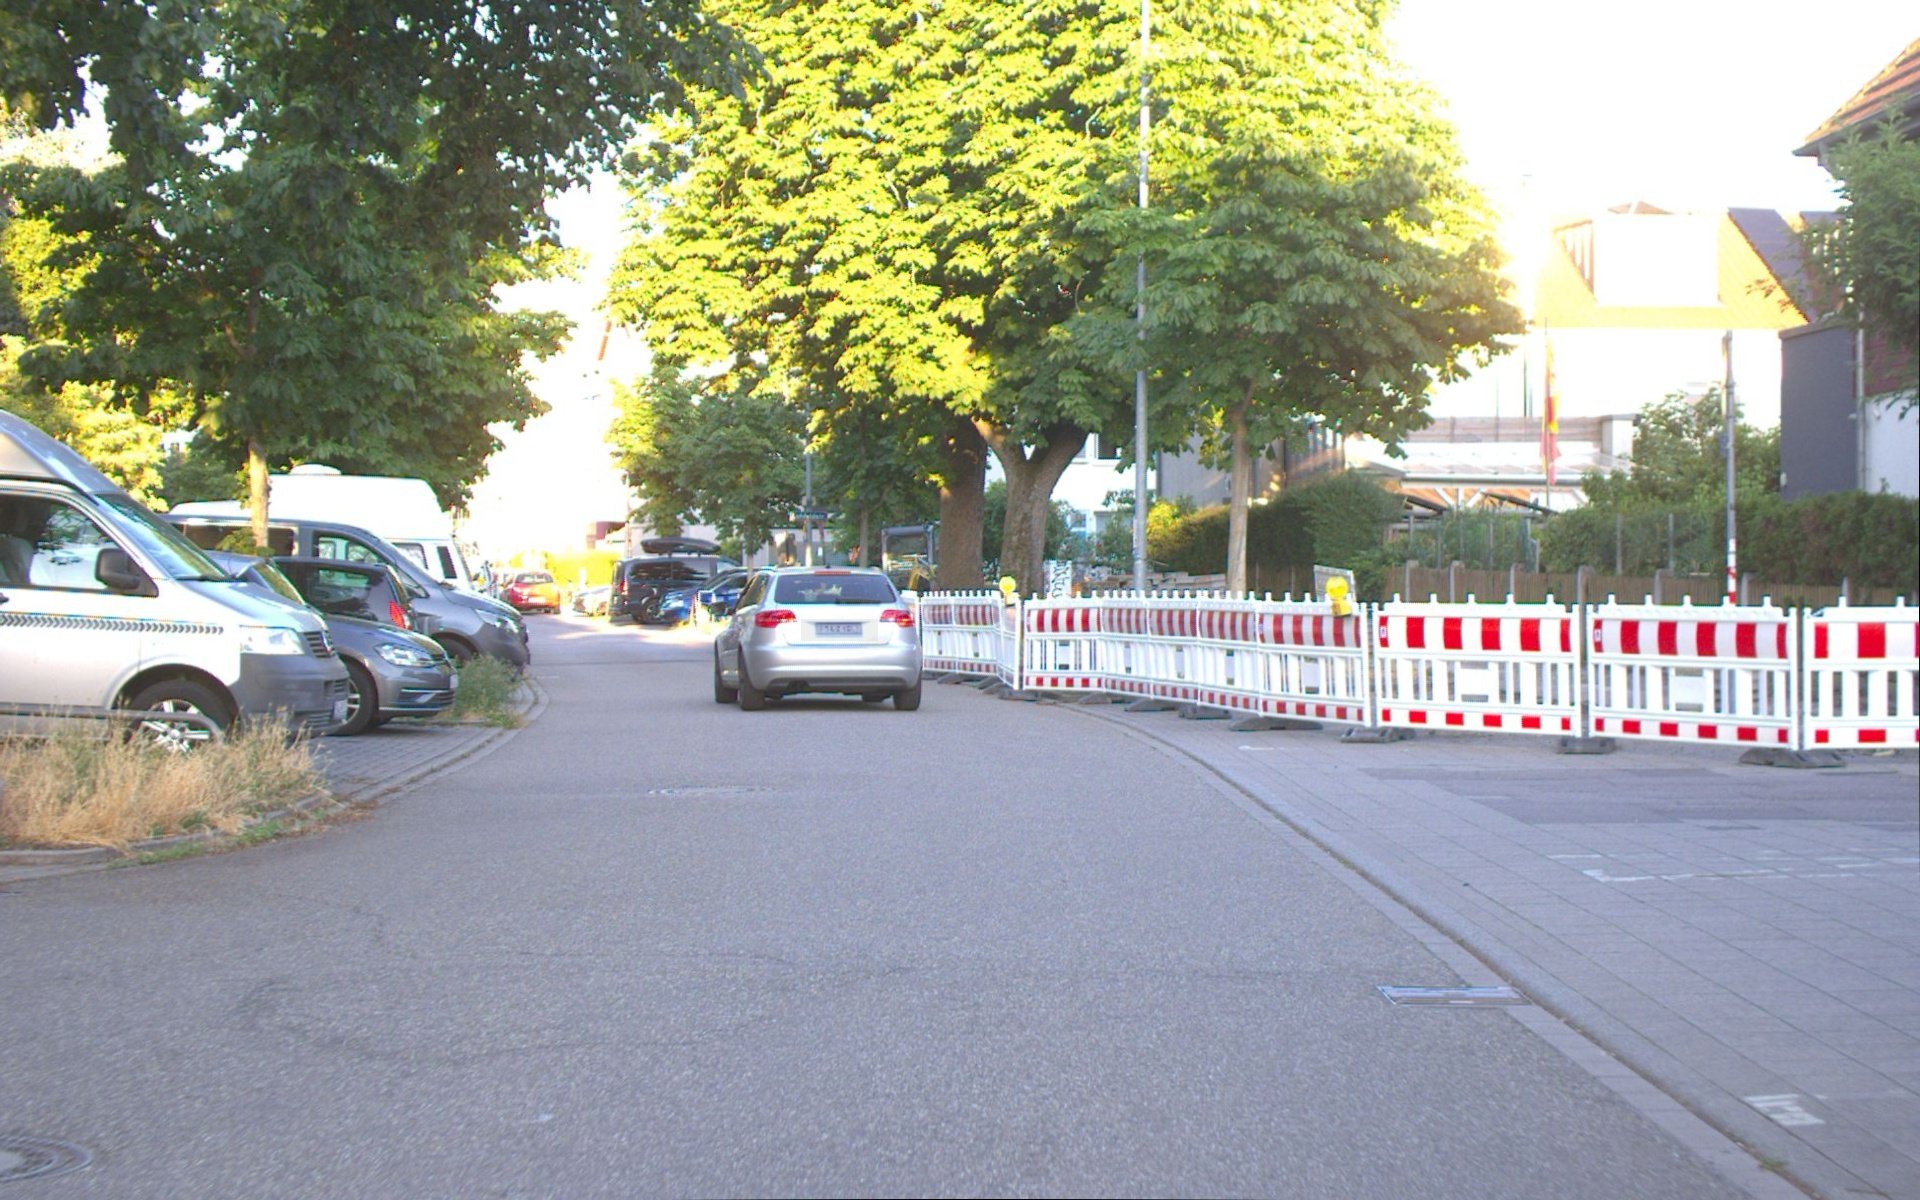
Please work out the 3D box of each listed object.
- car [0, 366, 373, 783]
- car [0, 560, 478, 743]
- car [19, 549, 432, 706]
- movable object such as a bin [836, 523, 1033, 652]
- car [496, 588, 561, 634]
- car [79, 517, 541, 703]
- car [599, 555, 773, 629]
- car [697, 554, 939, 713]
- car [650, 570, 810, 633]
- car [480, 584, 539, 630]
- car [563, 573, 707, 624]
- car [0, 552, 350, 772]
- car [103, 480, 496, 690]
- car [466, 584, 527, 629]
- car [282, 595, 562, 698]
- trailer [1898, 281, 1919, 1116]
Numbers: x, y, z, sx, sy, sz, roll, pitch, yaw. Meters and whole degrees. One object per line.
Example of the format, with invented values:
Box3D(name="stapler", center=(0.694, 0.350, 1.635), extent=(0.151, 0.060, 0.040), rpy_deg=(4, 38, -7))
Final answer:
Box3D(name="car", center=(-6.368, -0.180, 22.333), extent=(4.731, 2.561, 2.000), rpy_deg=(1, 0, 0))
Box3D(name="car", center=(-6.218, 0.405, 28.378), extent=(4.244, 1.389, 1.684), rpy_deg=(1, 0, -1))
Box3D(name="car", center=(-7.144, 0.269, 33.710), extent=(3.768, 1.434, 1.656), rpy_deg=(1, -1, -6))
Box3D(name="movable object such as a bin", center=(-0.560, -0.247, 66.677), extent=(2.627, 2.394, 5.199), rpy_deg=(1, 0, -14))
Box3D(name="car", center=(-14.420, 0.353, 114.757), extent=(1.729, 1.478, 3.558), rpy_deg=(1, 0, -14))
Box3D(name="car", center=(-6.795, 0.100, 36.400), extent=(4.672, 1.867, 2.000), rpy_deg=(1, 0, -7))
Box3D(name="car", center=(-7.801, -0.228, 97.656), extent=(4.555, 2.016, 2.102), rpy_deg=(1, 0, -17))
Box3D(name="car", center=(-1.478, 0.331, 34.295), extent=(1.807, 1.483, 4.001), rpy_deg=(0, 0, -11))
Box3D(name="car", center=(-6.221, 0.033, 93.037), extent=(3.986, 1.645, 1.765), rpy_deg=(1, 0, -19))
Box3D(name="car", center=(-15.764, 0.242, 120.232), extent=(1.663, 1.568, 3.441), rpy_deg=(1, 0, -14))
Box3D(name="car", center=(-10.173, -0.049, 107.569), extent=(4.148, 1.567, 1.798), rpy_deg=(1, 0, -19))
Box3D(name="car", center=(-6.627, 0.420, 25.841), extent=(3.803, 1.517, 1.653), rpy_deg=(2, 0, -3))
Box3D(name="car", center=(-7.901, -0.177, 41.479), extent=(4.501, 2.423, 2.000), rpy_deg=(1, 0, -7))
Box3D(name="car", center=(-16.868, 0.232, 124.990), extent=(1.808, 1.607, 3.582), rpy_deg=(1, 0, -14))
Box3D(name="car", center=(-8.854, 0.757, 56.473), extent=(4.405, 1.609, 1.900), rpy_deg=(1, 0, -13))
Box3D(name="trailer", center=(4.499, 0.280, 8.136), extent=(3.987, 2.180, 2.000), rpy_deg=(1, 0, 0))
